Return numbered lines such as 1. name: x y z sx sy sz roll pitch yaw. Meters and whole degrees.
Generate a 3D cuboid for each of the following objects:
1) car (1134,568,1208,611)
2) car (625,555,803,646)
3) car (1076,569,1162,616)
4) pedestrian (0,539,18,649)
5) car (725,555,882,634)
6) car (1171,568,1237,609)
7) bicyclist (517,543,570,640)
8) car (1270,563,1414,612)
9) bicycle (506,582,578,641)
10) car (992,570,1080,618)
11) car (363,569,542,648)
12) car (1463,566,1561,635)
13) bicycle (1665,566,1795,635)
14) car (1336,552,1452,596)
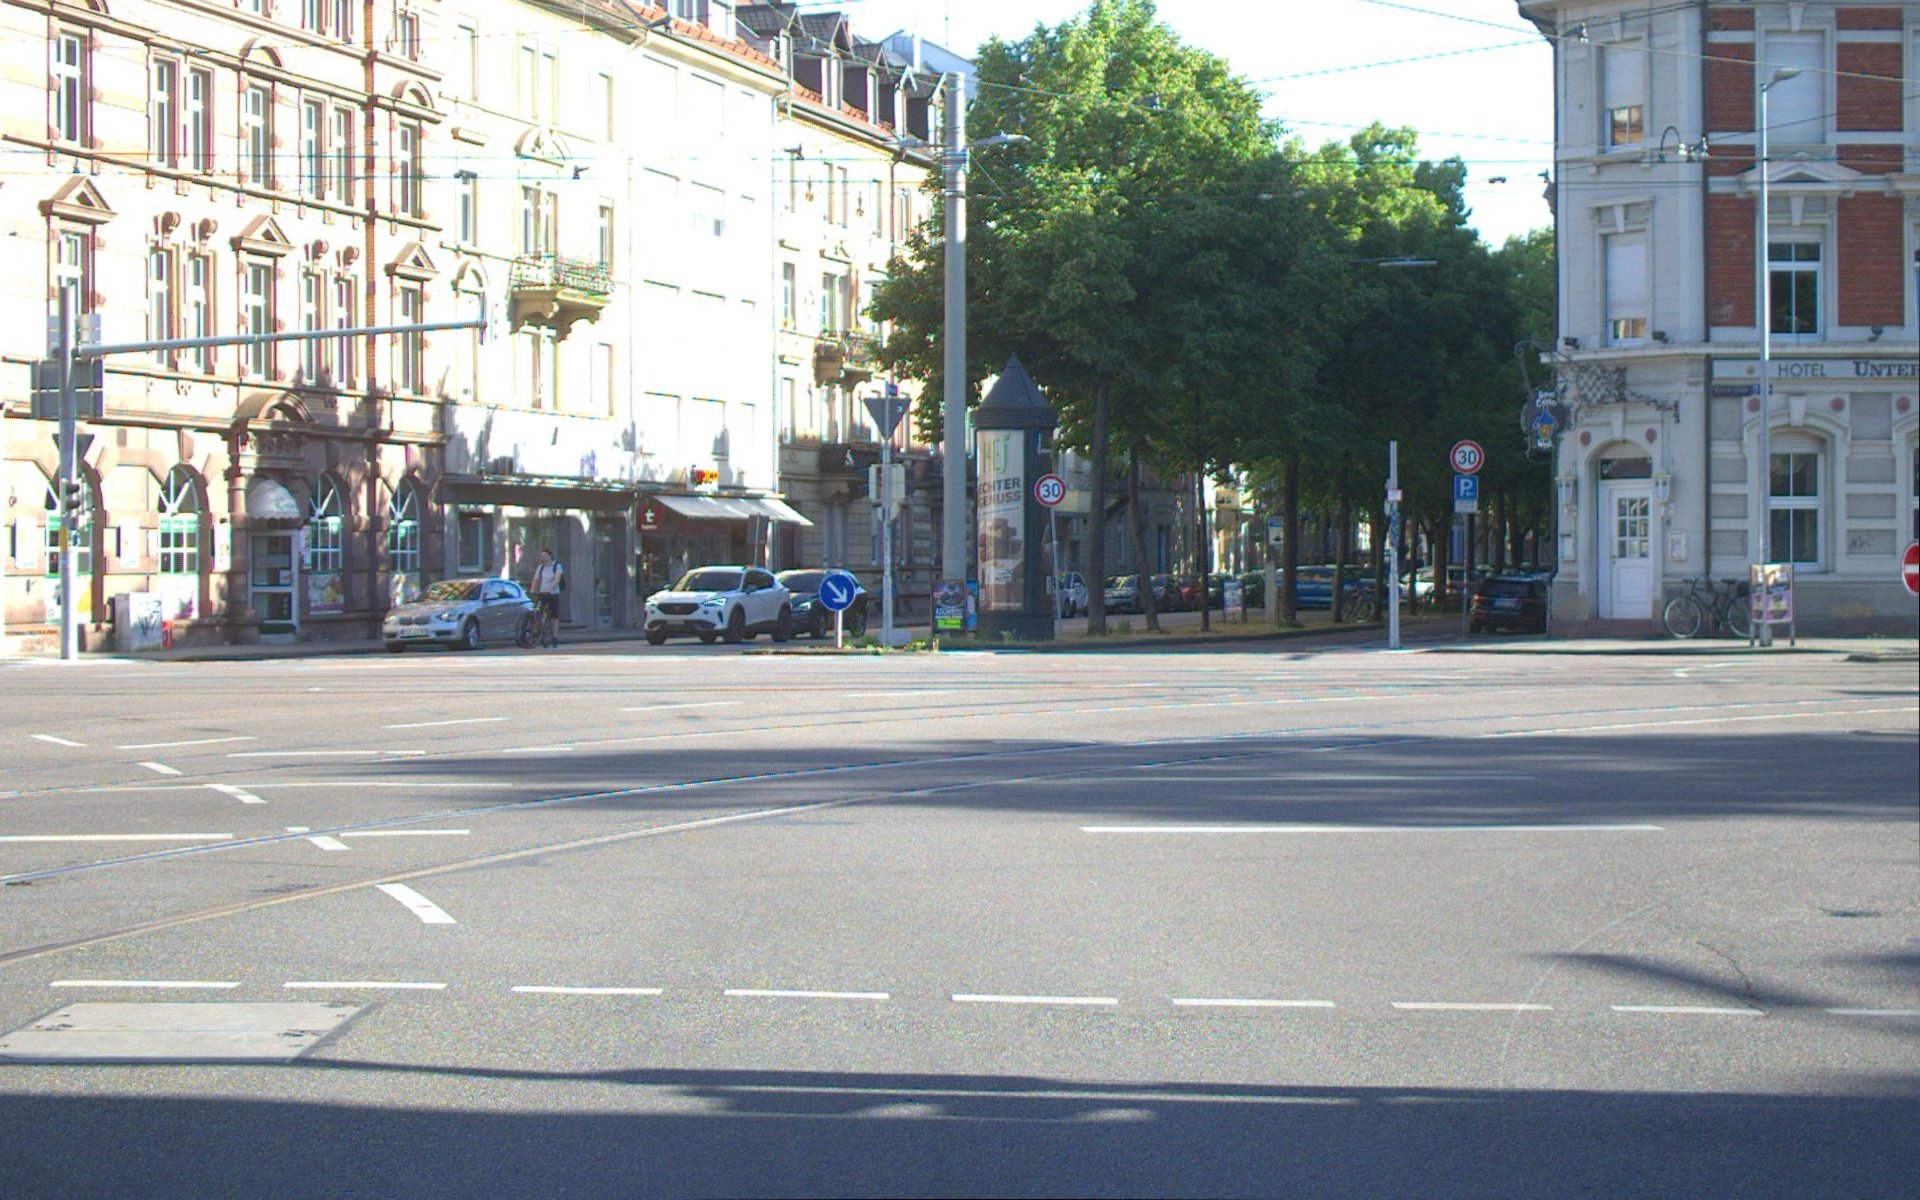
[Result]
1. car: 8.028 -0.416 130.448 1.839 1.547 4.387 0 1 17
2. car: -4.765 -0.020 67.318 1.995 1.678 4.387 0 1 17
3. car: 5.702 -0.298 122.658 1.995 1.607 4.387 0 1 17
4. pedestrian: -15.586 -0.100 54.893 1.046 1.738 0.809 0 1 -15
5. car: -3.320 -0.138 73.831 1.995 1.606 4.387 0 1 17
6. car: 9.694 -0.465 136.325 1.766 1.544 4.387 0 1 16
7. bicyclist: -7.880 -0.167 65.040 0.679 1.814 1.070 0 1 12
8. car: 12.806 -0.442 115.353 4.382 1.606 1.997 0 1 27
9. bicycle: -7.890 0.213 65.004 0.680 1.062 2.124 0 1 12
10. car: 2.483 -0.222 110.956 1.995 1.481 3.998 0 1 14
11. car: -9.853 0.144 67.043 1.900 1.450 3.997 0 1 17
12. car: 13.267 -0.008 82.435 1.995 1.579 3.998 0 1 14
13. bicycle: 12.856 0.011 57.384 2.085 1.120 0.367 1 0 -4
14. car: 16.856 -1.009 133.618 3.993 1.700 1.997 0 1 30
